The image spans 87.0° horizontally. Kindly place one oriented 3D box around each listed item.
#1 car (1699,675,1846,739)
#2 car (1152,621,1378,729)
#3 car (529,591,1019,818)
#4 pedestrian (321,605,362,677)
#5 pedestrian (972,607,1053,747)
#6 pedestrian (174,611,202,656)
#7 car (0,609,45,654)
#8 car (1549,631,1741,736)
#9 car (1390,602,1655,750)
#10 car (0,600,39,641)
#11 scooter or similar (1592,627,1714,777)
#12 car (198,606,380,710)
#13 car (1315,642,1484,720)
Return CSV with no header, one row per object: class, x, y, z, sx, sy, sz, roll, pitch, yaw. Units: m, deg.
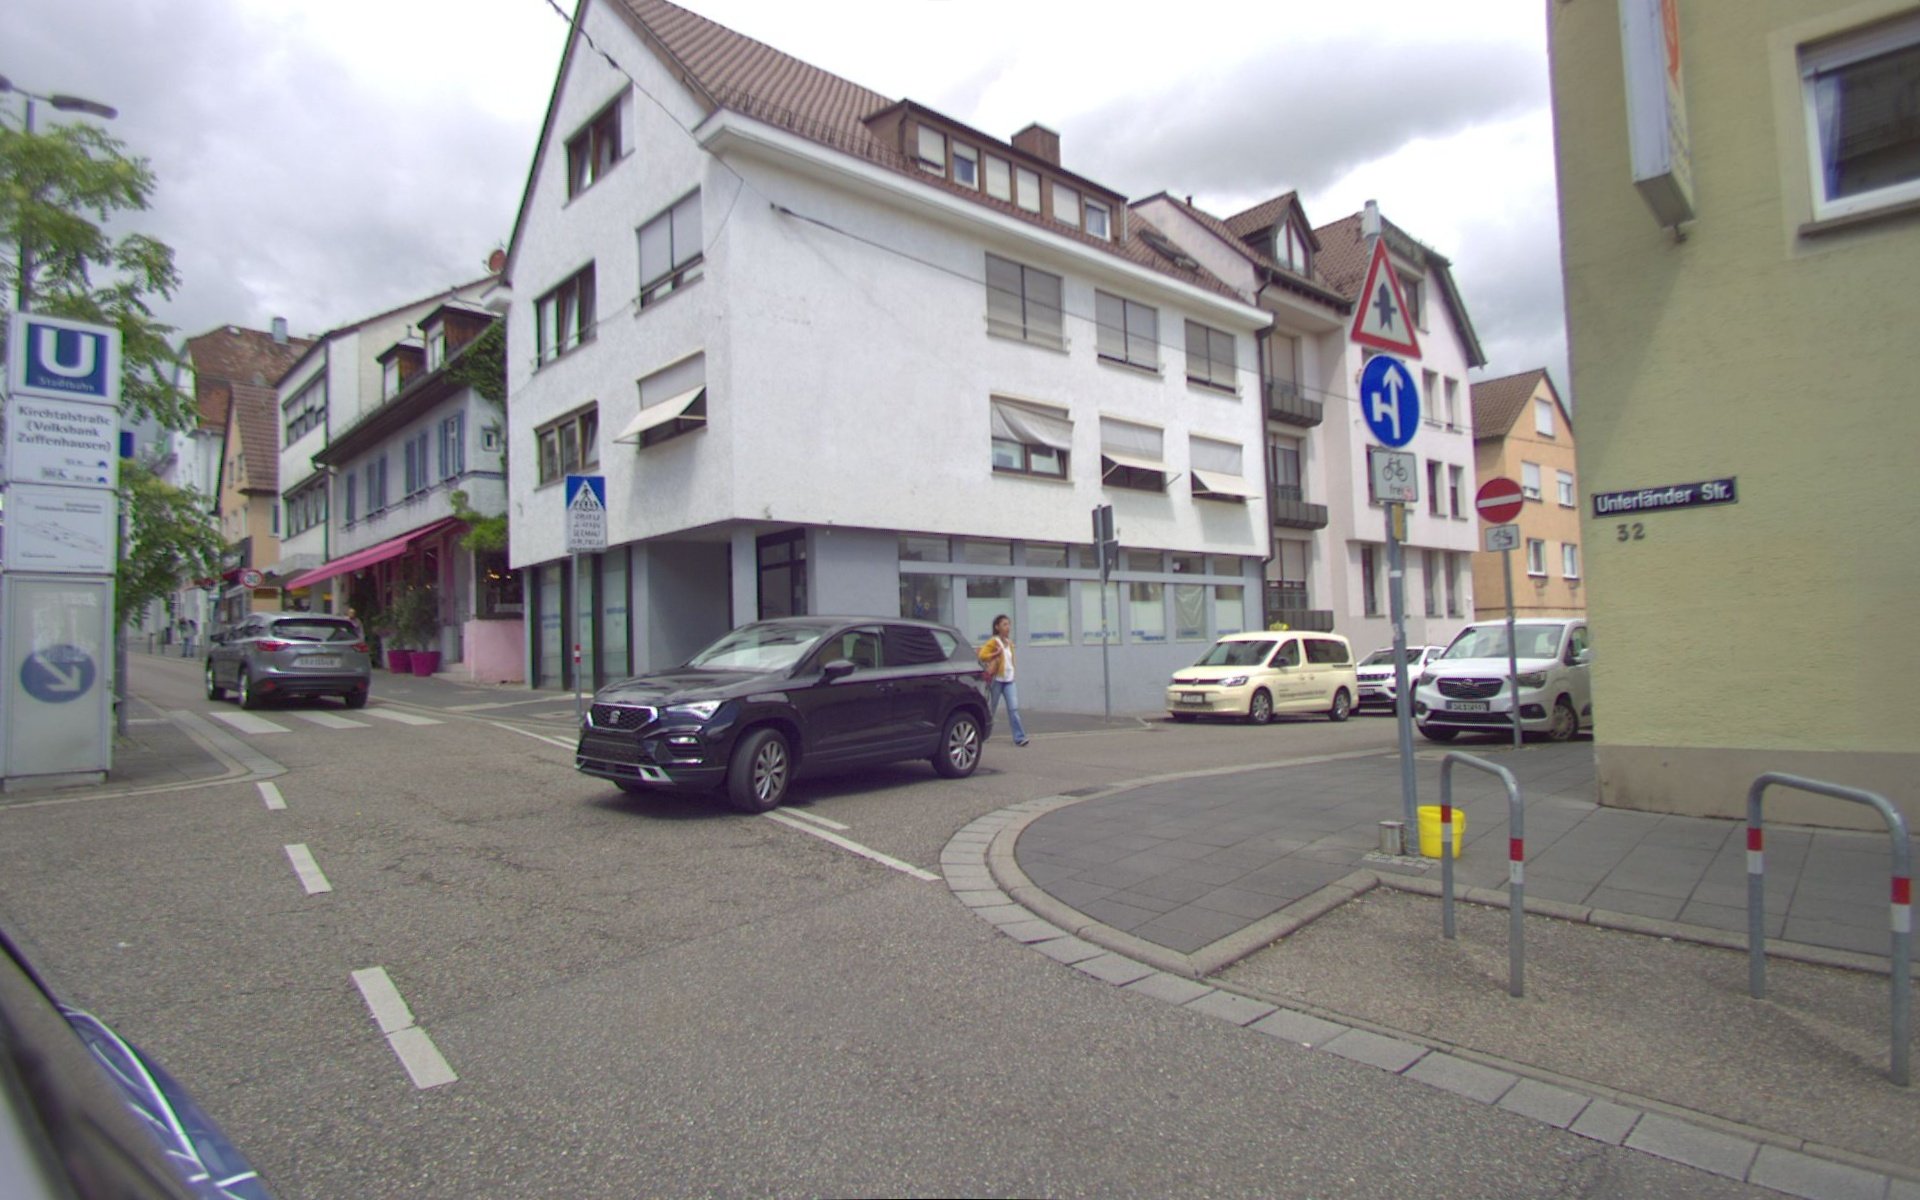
car,22.894,2.945,28.476,4.279,1.498,1.865,1,-2,-32
car,5.990,1.426,19.549,4.762,1.833,1.871,4,-4,-40
car,-1.430,0.856,9.375,1.912,1.581,4.318,-1,-4,36
pedestrian,-15.553,1.025,25.444,0.686,1.753,0.825,2,-3,-44
pedestrian,0.681,0.978,13.196,0.835,1.752,0.630,-1,-3,41
pedestrian,-30.137,1.290,39.500,0.664,1.727,0.738,-2,-2,44
car,-34.206,1.119,36.399,3.900,1.559,1.680,-1,-1,44
car,12.274,1.446,18.037,4.284,1.641,1.741,4,-4,-40
car,8.230,1.126,14.659,4.286,1.820,2.002,4,-7,-42
car,-39.177,0.868,41.383,4.496,1.601,1.971,-2,-1,44
scooter or similar,6.503,0.926,9.468,0.590,1.291,1.573,-7,-7,43
car,-12.205,0.956,18.291,1.941,1.633,4.357,0,-1,-45
car,10.230,1.876,23.471,4.029,1.633,2.003,4,-6,-40
